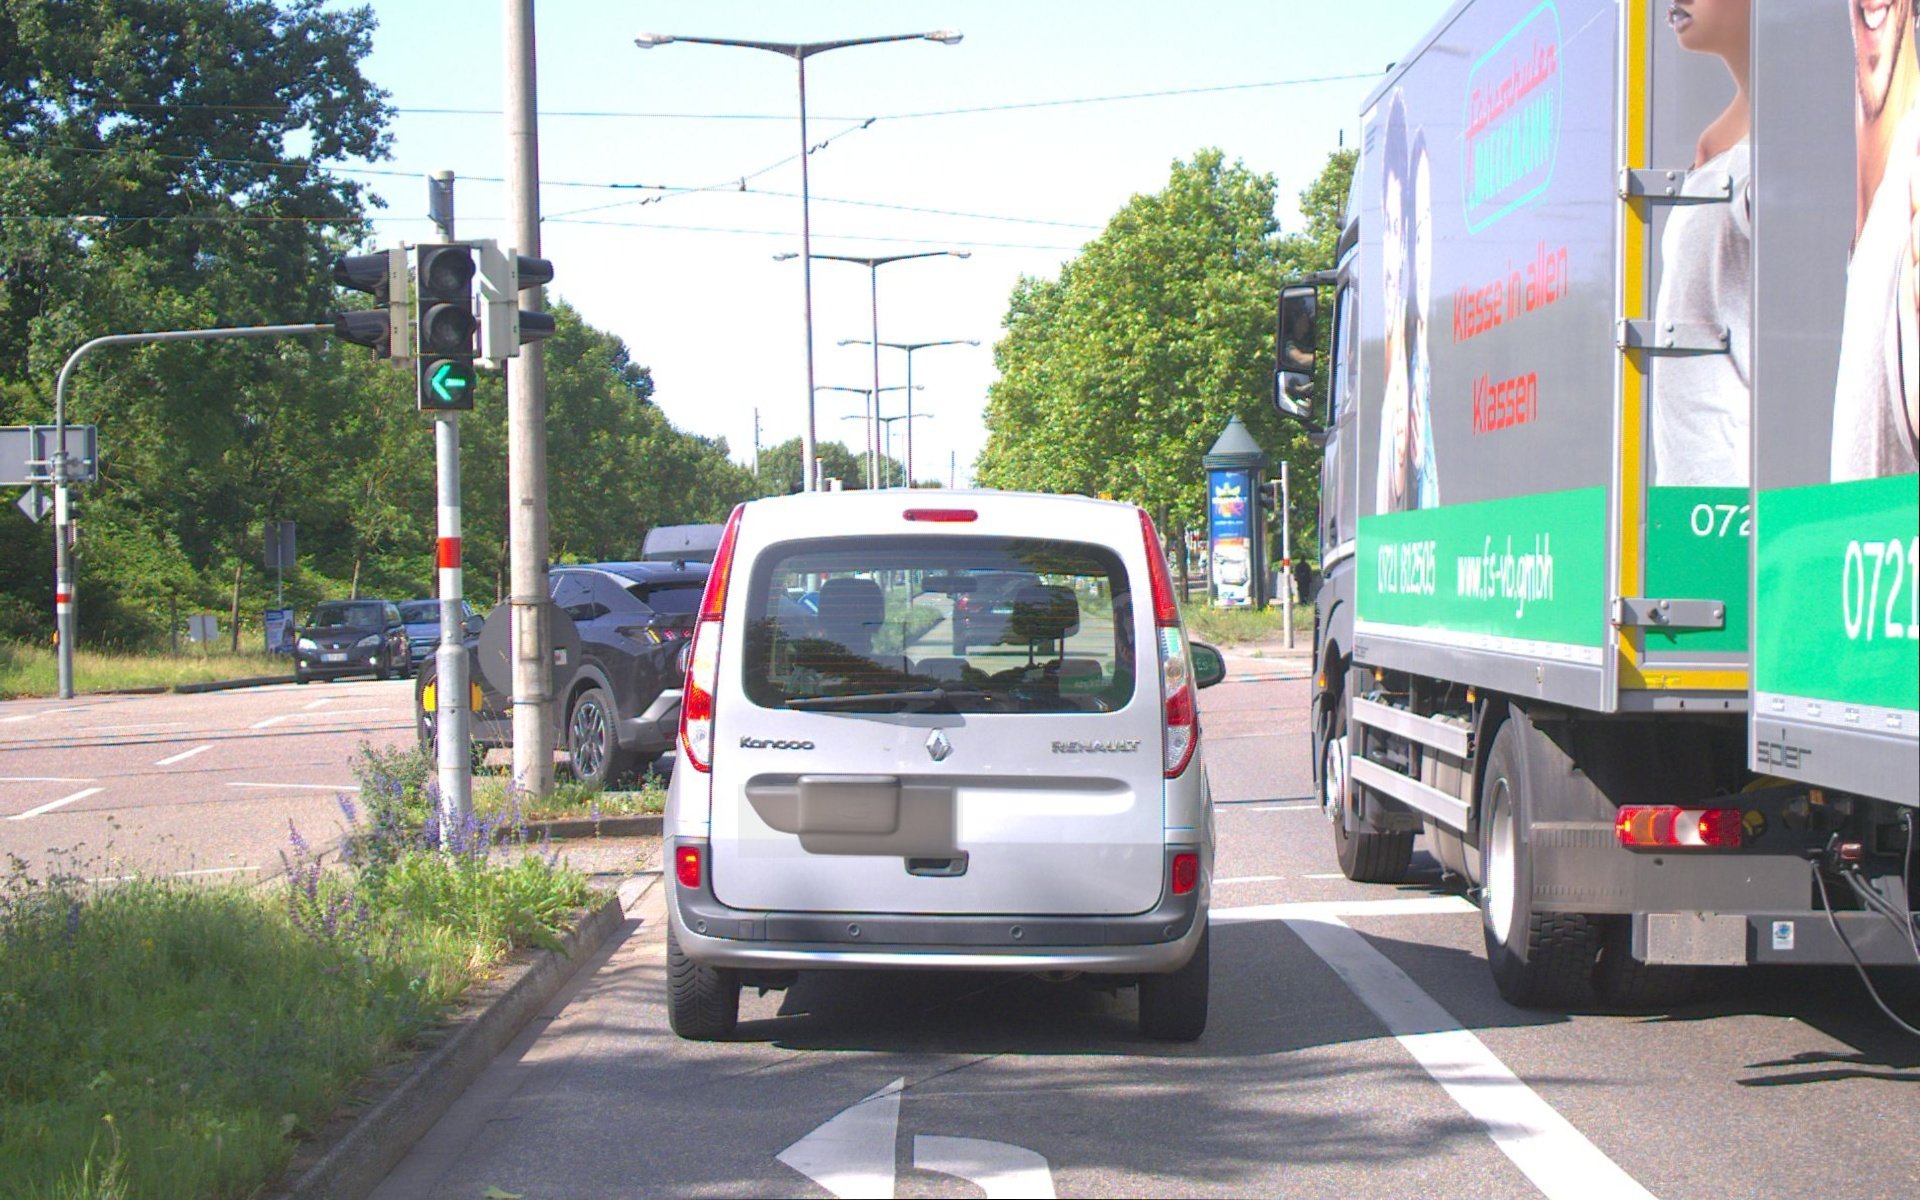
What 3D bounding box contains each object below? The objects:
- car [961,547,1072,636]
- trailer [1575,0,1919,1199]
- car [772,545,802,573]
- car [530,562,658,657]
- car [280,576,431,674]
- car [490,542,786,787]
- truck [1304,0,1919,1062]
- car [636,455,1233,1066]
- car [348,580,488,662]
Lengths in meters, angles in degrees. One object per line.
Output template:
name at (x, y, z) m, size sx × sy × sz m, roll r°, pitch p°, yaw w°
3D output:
car at (1.081, -0.153, 64.459) m, size 1.993 × 1.579 × 4.456 m, roll 1°, pitch 0°, yaw 2°
trailer at (3.094, -0.496, 5.799) m, size 2.736 × 3.864 × 7.735 m, roll -1°, pitch 0°, yaw 0°
car at (-12.618, -2.984, 250.964) m, size 1.888 × 2.007 × 4.000 m, roll 1°, pitch 0°, yaw 1°
car at (-7.520, 0.185, 71.076) m, size 1.993 × 1.864 × 4.773 m, roll -1°, pitch 0°, yaw 1°
car at (-10.700, 0.433, 61.069) m, size 1.911 × 1.636 × 3.737 m, roll -1°, pitch 0°, yaw 1°
car at (-2.352, 0.415, 26.072) m, size 1.930 × 1.656 × 4.229 m, roll -2°, pitch 1°, yaw -2°
truck at (3.159, -0.653, 14.032) m, size 2.729 × 3.876 × 8.722 m, roll 0°, pitch 0°, yaw 1°
car at (-0.134, 0.487, 12.442) m, size 1.786 × 1.831 × 4.000 m, roll 1°, pitch 0°, yaw -2°
car at (-10.742, 0.396, 68.369) m, size 1.993 × 1.535 × 4.236 m, roll -1°, pitch 0°, yaw 1°
